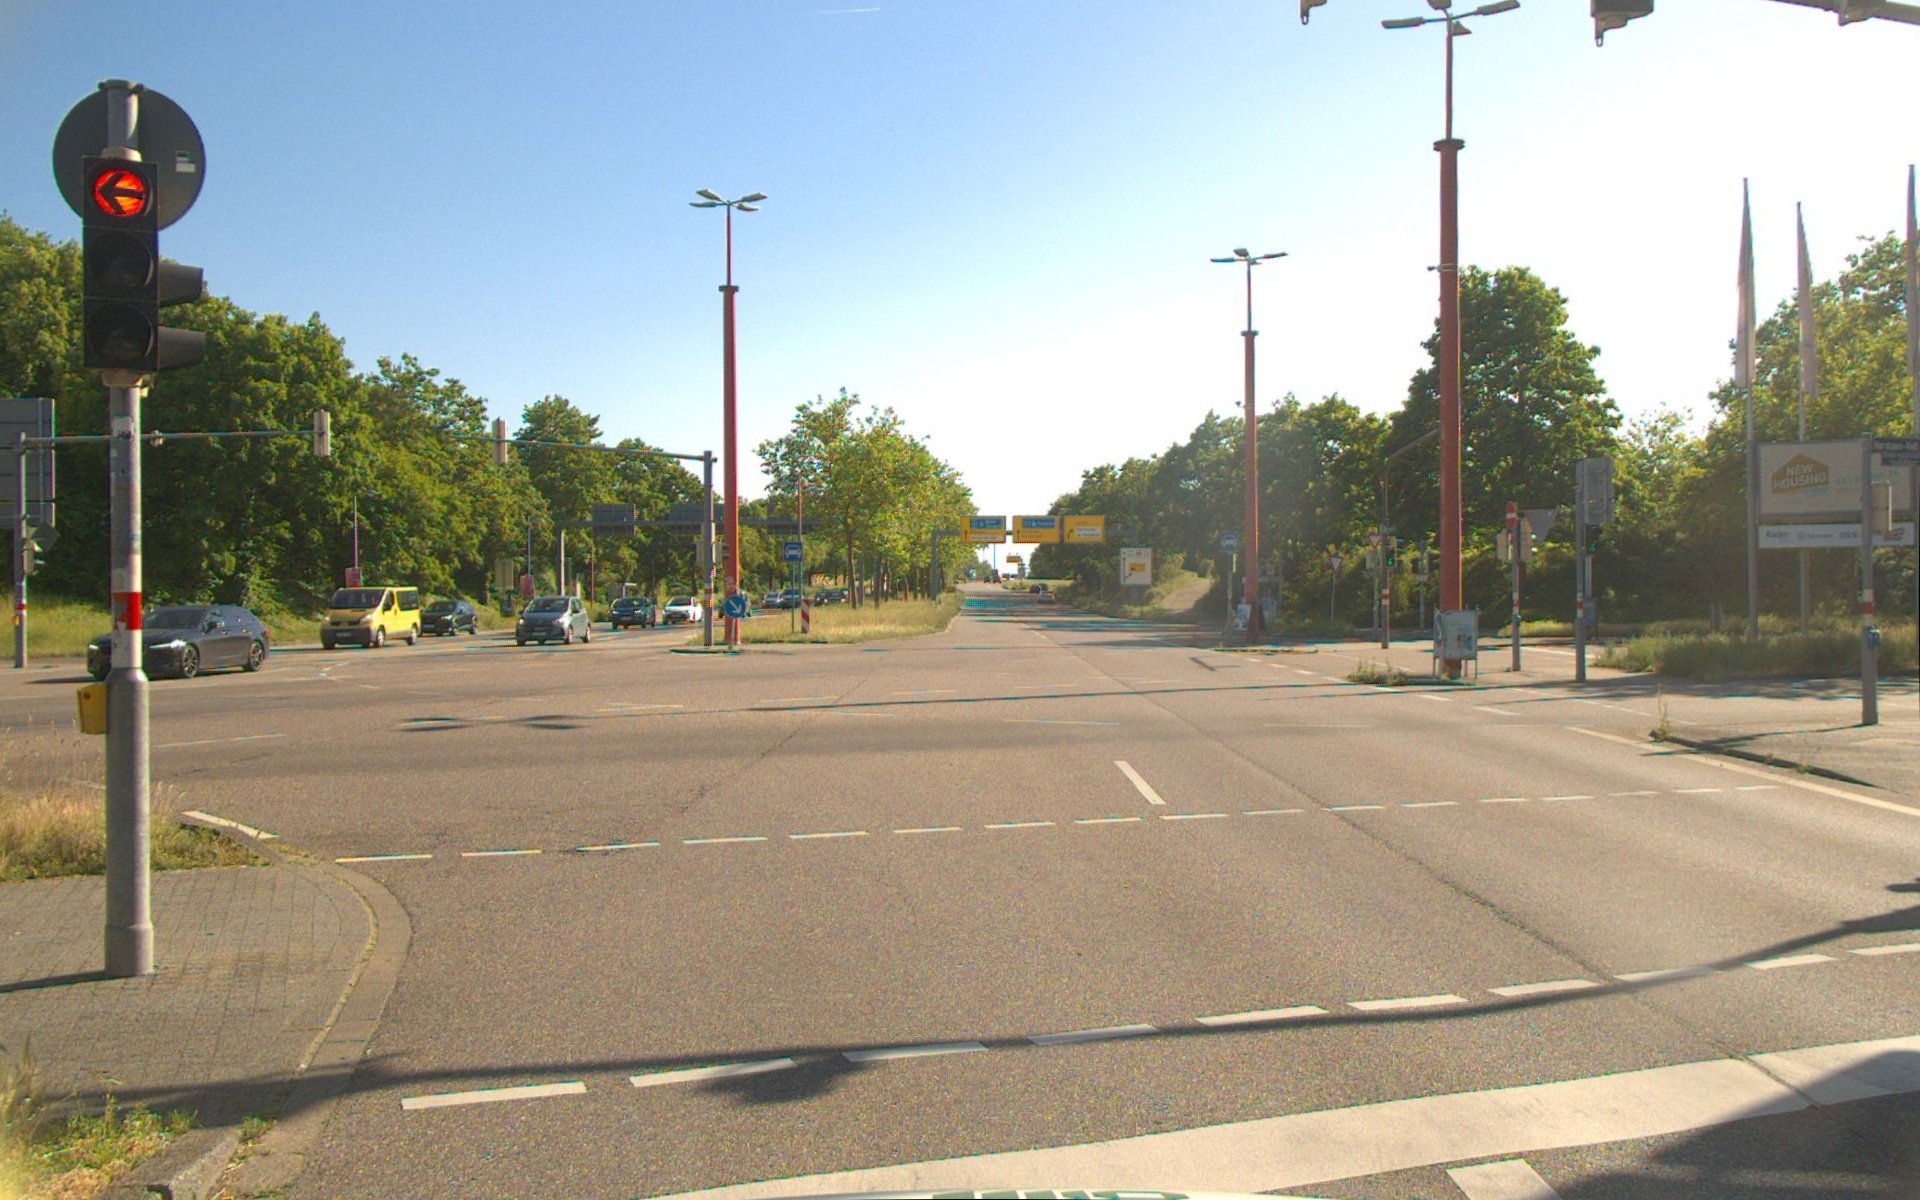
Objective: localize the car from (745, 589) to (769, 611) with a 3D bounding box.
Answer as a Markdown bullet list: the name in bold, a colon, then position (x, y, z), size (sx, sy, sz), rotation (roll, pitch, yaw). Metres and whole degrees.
- **car**: position (-19.358, 0.043, 157.891), size (1.963, 2.049, 3.998), rotation (1, 0, -2)

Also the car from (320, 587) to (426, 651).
- **car**: position (-19.440, 0.617, 54.977), size (1.721, 2.022, 4.789), rotation (1, 0, 1)

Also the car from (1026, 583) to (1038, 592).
- **car**: position (10.617, -1.842, 243.337), size (1.702, 1.365, 3.082), rotation (0, 0, 1)

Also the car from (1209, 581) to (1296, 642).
- **car**: position (9.589, 0.358, 53.999), size (1.953, 1.920, 3.999), rotation (0, 0, 23)

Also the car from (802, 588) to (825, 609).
- **car**: position (-14.089, -0.106, 159.103), size (1.963, 1.959, 3.998), rotation (1, 0, -2)

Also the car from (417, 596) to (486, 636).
- **car**: position (-22.240, 0.692, 72.460), size (1.954, 1.667, 3.998), rotation (1, 0, -3)

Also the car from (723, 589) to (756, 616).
- **car**: position (-14.725, 0.173, 110.694), size (1.592, 1.769, 4.001), rotation (0, 0, 1)

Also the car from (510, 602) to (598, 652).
- **car**: position (-12.670, 0.827, 51.853), size (1.666, 1.446, 4.000), rotation (3, 0, 1)

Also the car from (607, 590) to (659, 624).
- **car**: position (-15.704, 0.321, 79.574), size (1.668, 1.586, 3.804), rotation (1, 0, 1)

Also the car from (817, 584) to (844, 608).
- **car**: position (-9.785, -0.257, 125.494), size (1.622, 1.778, 4.001), rotation (1, 0, 2)

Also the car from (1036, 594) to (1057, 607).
- **car**: position (9.683, 0.032, 185.062), size (2.012, 1.395, 4.391), rotation (0, 0, -1)

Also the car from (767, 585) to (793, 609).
- **car**: position (-15.584, -0.219, 143.100), size (1.963, 2.049, 3.998), rotation (1, 0, -2)

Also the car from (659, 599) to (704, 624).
- **car**: position (-15.617, 0.616, 92.883), size (1.963, 1.330, 3.998), rotation (0, 0, -2)

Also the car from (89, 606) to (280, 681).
- **car**: position (-15.789, 0.839, 33.964), size (1.595, 1.392, 4.797), rotation (0, 0, 1)
